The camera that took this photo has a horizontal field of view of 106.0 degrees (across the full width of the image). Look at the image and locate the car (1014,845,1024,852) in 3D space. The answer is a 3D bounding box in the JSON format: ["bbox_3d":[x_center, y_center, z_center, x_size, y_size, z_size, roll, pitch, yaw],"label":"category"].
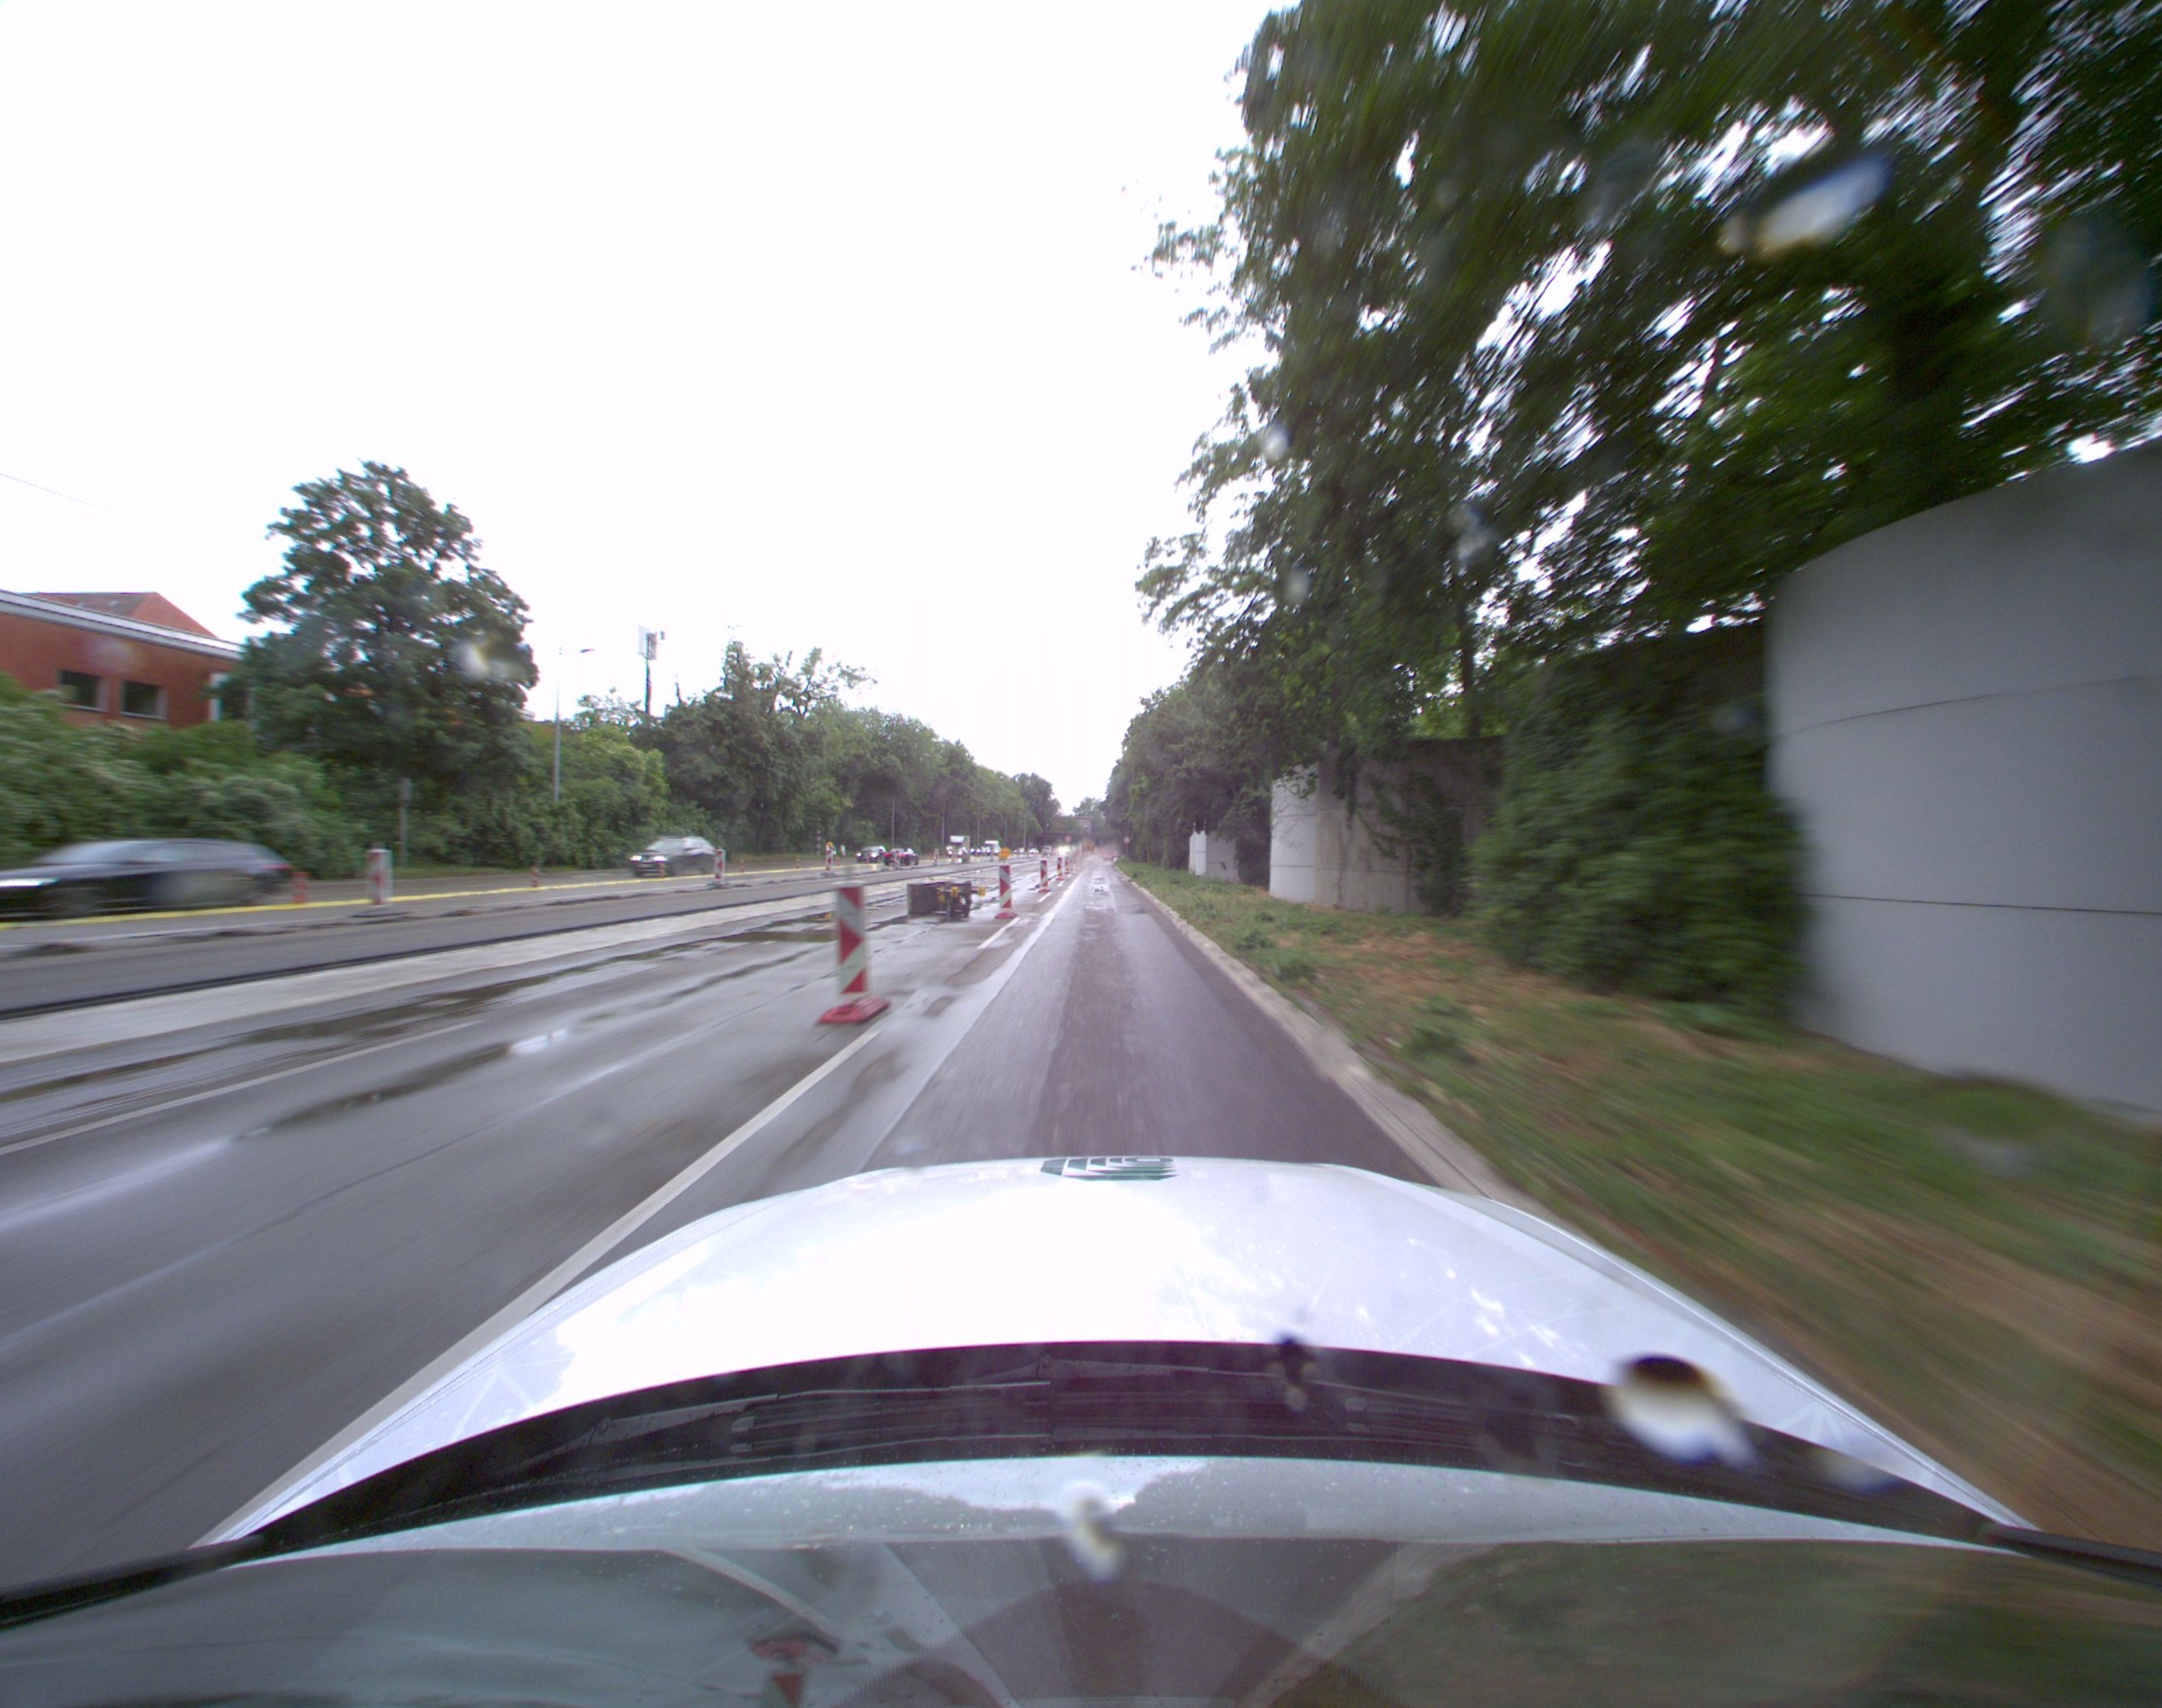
[{"bbox_3d":[-13.953,-1.189,183.353,1.663,1.485,4.323,1,1,2],"label":"car"}]

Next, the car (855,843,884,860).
[{"bbox_3d":[-17.372,-0.189,66.961,1.444,1.332,3.859,1,0,-1],"label":"car"}]

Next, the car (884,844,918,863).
[{"bbox_3d":[-13.732,-0.040,62.324,1.602,1.404,4.041,1,1,0],"label":"car"}]

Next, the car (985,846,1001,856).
[{"bbox_3d":[-14.444,-0.526,133.603,1.952,1.531,4.439,1,1,2],"label":"car"}]

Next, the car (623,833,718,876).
[{"bbox_3d":[-17.619,0.007,35.173,1.729,1.722,4.494,1,0,1],"label":"car"}]

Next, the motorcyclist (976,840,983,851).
[{"bbox_3d":[-14.728,-1.258,118.138,0.825,1.564,0.927,2,0,1],"label":"motorcyclist"}]

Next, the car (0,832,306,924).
[{"bbox_3d":[-17.993,0.360,15.478,1.754,1.483,4.901,0,0,1],"label":"car"}]

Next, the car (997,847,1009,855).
[{"bbox_3d":[-15.361,-0.579,160.469,1.663,1.485,4.323,1,1,2],"label":"car"}]

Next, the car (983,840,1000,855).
[{"bbox_3d":[-15.883,-1.083,144.959,2.091,2.579,6.858,1,1,2],"label":"car"}]

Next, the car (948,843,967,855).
[{"bbox_3d":[-15.895,-0.655,104.961,1.664,1.415,4.320,1,1,0],"label":"car"}]

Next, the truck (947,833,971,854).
[{"bbox_3d":[-17.832,-1.565,119.446,2.237,2.940,6.939,1,1,2],"label":"truck"}]

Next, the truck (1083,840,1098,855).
[{"bbox_3d":[2.333,-1.677,197.900,3.247,3.497,13.875,1,1,1],"label":"truck"}]

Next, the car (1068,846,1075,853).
[{"bbox_3d":[-2.591,-1.309,219.920,1.663,1.808,4.323,1,2,2],"label":"car"}]

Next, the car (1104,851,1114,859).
[{"bbox_3d":[4.885,0.117,143.515,1.691,1.336,3.492,-1,0,2],"label":"car"}]

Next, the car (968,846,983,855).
[{"bbox_3d":[-17.402,-0.633,134.190,1.663,1.485,4.323,1,1,2],"label":"car"}]

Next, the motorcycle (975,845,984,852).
[{"bbox_3d":[-14.738,-0.820,118.169,0.825,1.014,2.367,2,0,1],"label":"motorcycle"}]
